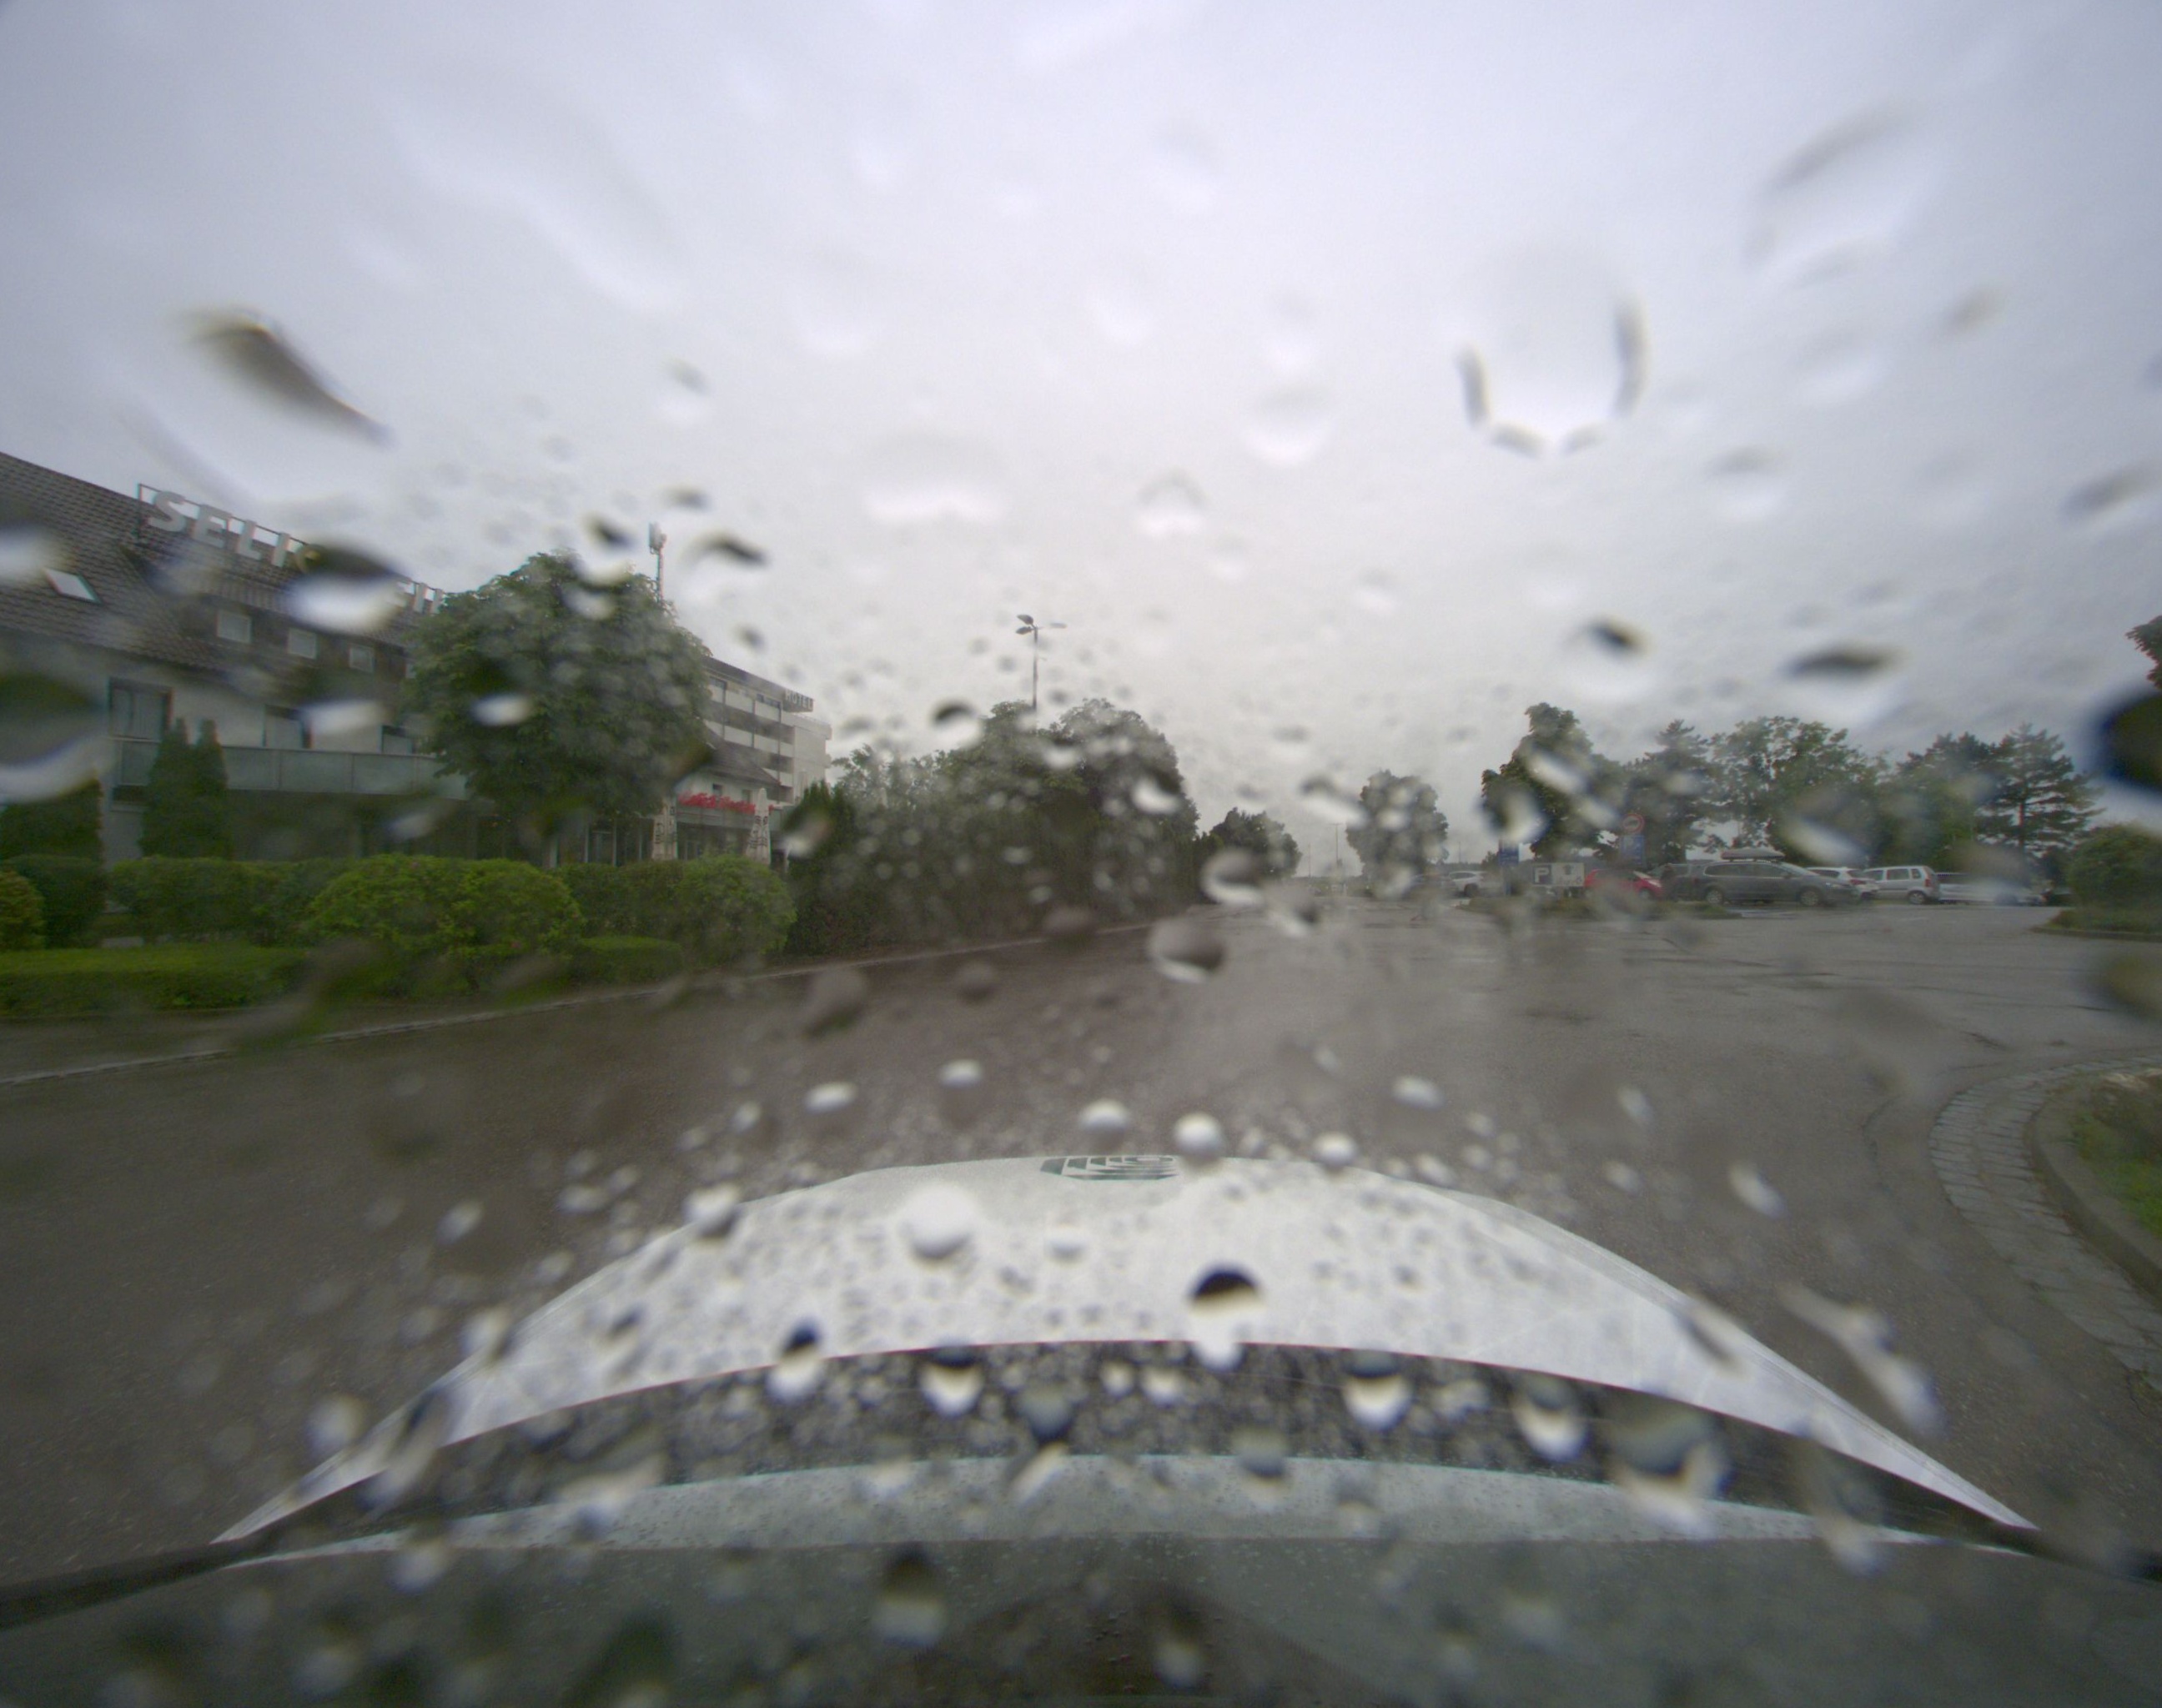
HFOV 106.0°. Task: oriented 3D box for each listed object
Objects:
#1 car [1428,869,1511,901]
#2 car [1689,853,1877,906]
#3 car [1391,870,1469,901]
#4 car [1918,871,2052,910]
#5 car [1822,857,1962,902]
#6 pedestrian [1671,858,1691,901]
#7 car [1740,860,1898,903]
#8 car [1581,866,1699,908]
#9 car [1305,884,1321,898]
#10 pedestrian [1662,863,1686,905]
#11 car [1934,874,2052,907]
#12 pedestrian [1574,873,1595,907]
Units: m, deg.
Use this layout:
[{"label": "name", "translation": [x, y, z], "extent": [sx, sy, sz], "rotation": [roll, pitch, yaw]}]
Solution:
[{"label": "car", "translation": [23.497, 1.890, 49.437], "extent": [1.725, 1.863, 4.325], "rotation": [3, -4, -30]}, {"label": "car", "translation": [25.992, 0.959, 30.376], "extent": [2.006, 1.792, 4.902], "rotation": [0, -2, -30]}, {"label": "car", "translation": [20.673, 1.882, 48.393], "extent": [1.725, 1.716, 3.987], "rotation": [3, -4, -30]}, {"label": "car", "translation": [46.845, 1.902, 42.292], "extent": [1.856, 1.863, 4.325], "rotation": [3, -4, -30]}, {"label": "car", "translation": [35.519, 1.151, 35.795], "extent": [1.856, 1.863, 3.984], "rotation": [3, -4, -30]}, {"label": "pedestrian", "translation": [24.729, 1.043, 33.573], "extent": [0.603, 1.725, 0.688], "rotation": [-1, -4, 42]}, {"label": "car", "translation": [28.405, 1.048, 31.494], "extent": [1.748, 1.517, 4.158], "rotation": [-1, -2, -29]}, {"label": "car", "translation": [25.498, 1.505, 37.293], "extent": [1.856, 1.792, 3.984], "rotation": [0, -2, -30]}, {"label": "car", "translation": [34.953, 5.647, 122.570], "extent": [1.688, 2.014, 4.022], "rotation": [0, -3, 26]}, {"label": "pedestrian", "translation": [23.324, 1.188, 32.040], "extent": [0.707, 1.639, 0.650], "rotation": [-2, -4, 38]}, {"label": "car", "translation": [53.374, 2.088, 47.751], "extent": [1.856, 1.862, 4.326], "rotation": [1, -2, -30]}, {"label": "pedestrian", "translation": [20.450, 1.476, 33.082], "extent": [0.637, 1.362, 0.454], "rotation": [1, -3, 19]}]
